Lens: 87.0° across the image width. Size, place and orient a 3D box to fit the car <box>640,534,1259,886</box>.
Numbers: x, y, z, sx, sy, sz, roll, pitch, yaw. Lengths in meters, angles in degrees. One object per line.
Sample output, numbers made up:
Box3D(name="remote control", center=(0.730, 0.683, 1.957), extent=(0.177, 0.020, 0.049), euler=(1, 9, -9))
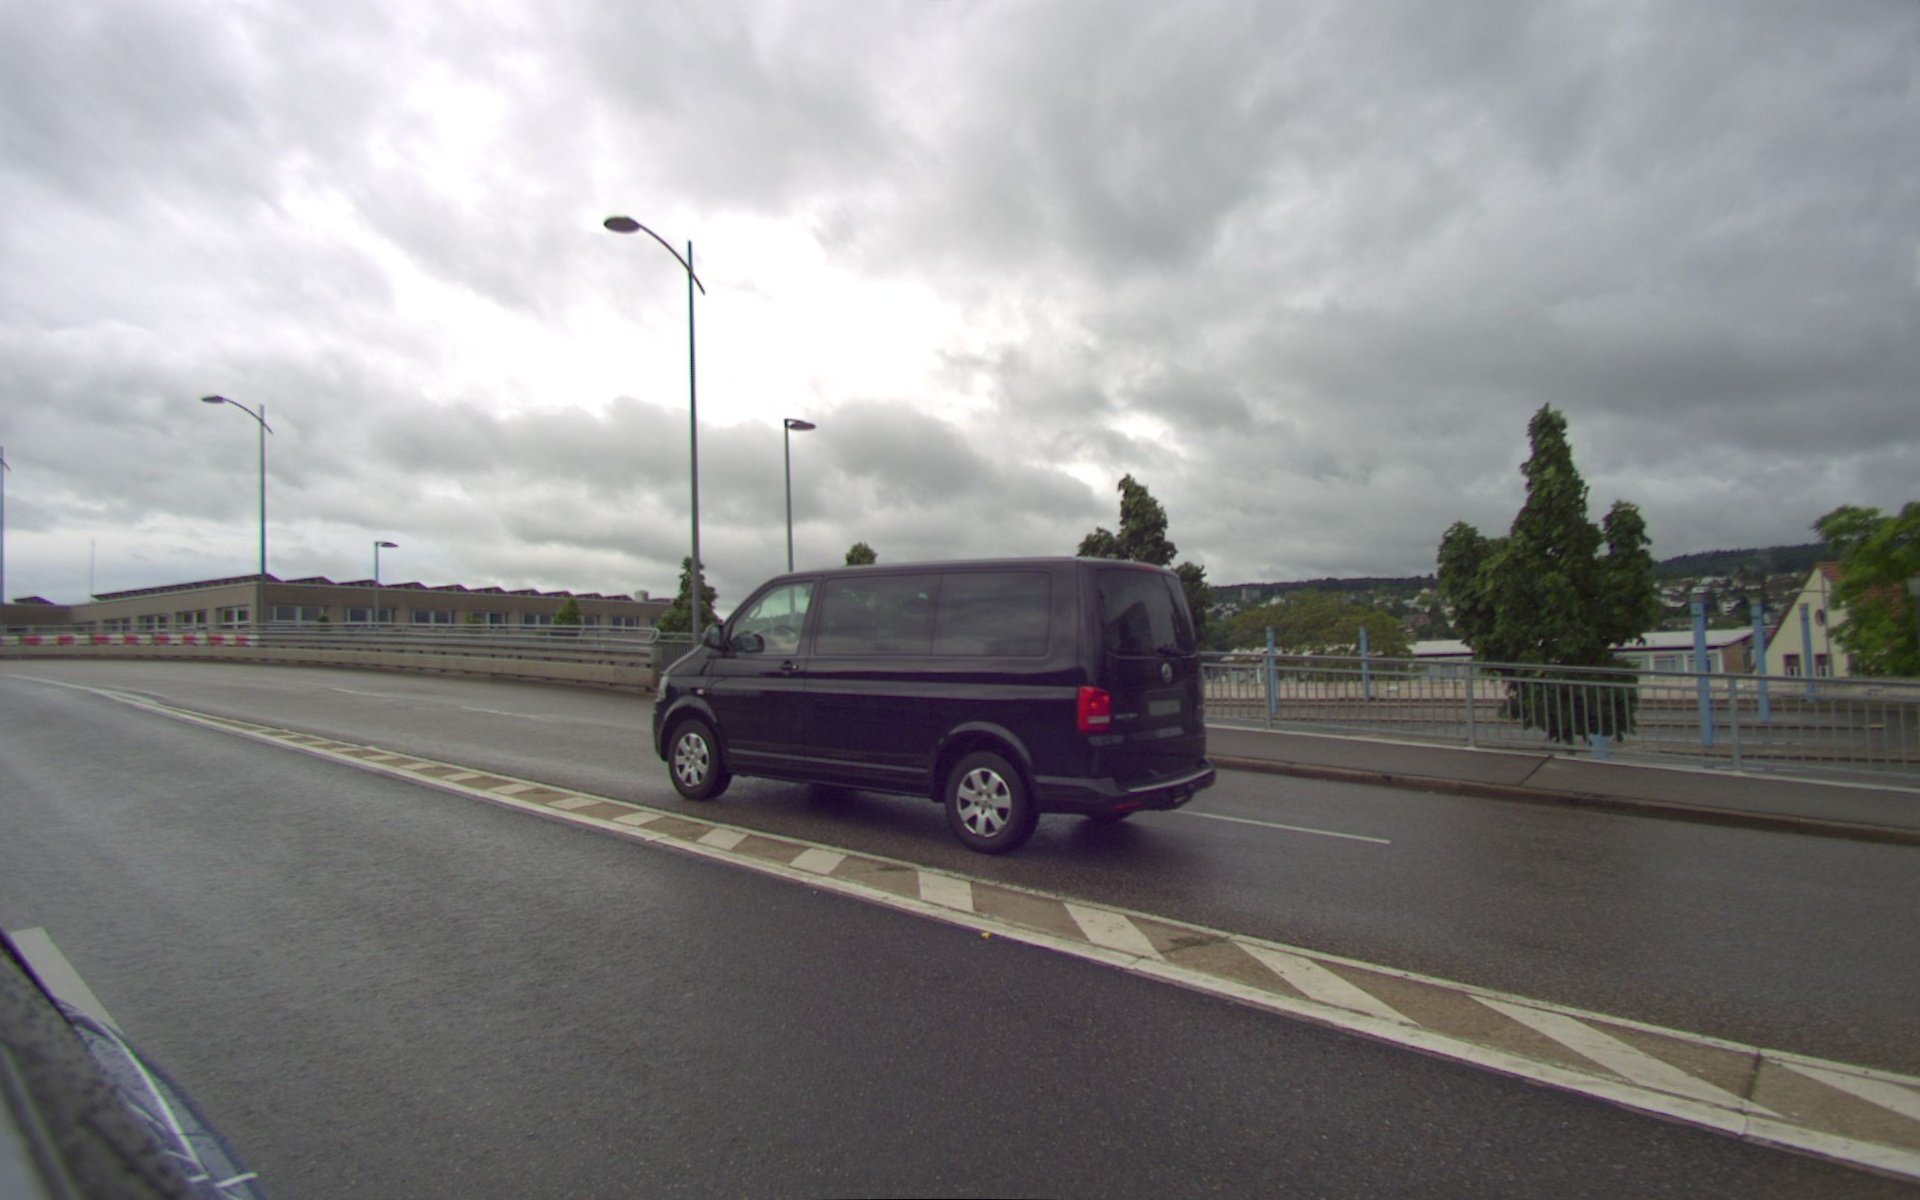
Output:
Box3D(name="car", center=(-0.278, 0.666, 7.872), extent=(4.677, 1.983, 1.828), euler=(0, -2, 37))
